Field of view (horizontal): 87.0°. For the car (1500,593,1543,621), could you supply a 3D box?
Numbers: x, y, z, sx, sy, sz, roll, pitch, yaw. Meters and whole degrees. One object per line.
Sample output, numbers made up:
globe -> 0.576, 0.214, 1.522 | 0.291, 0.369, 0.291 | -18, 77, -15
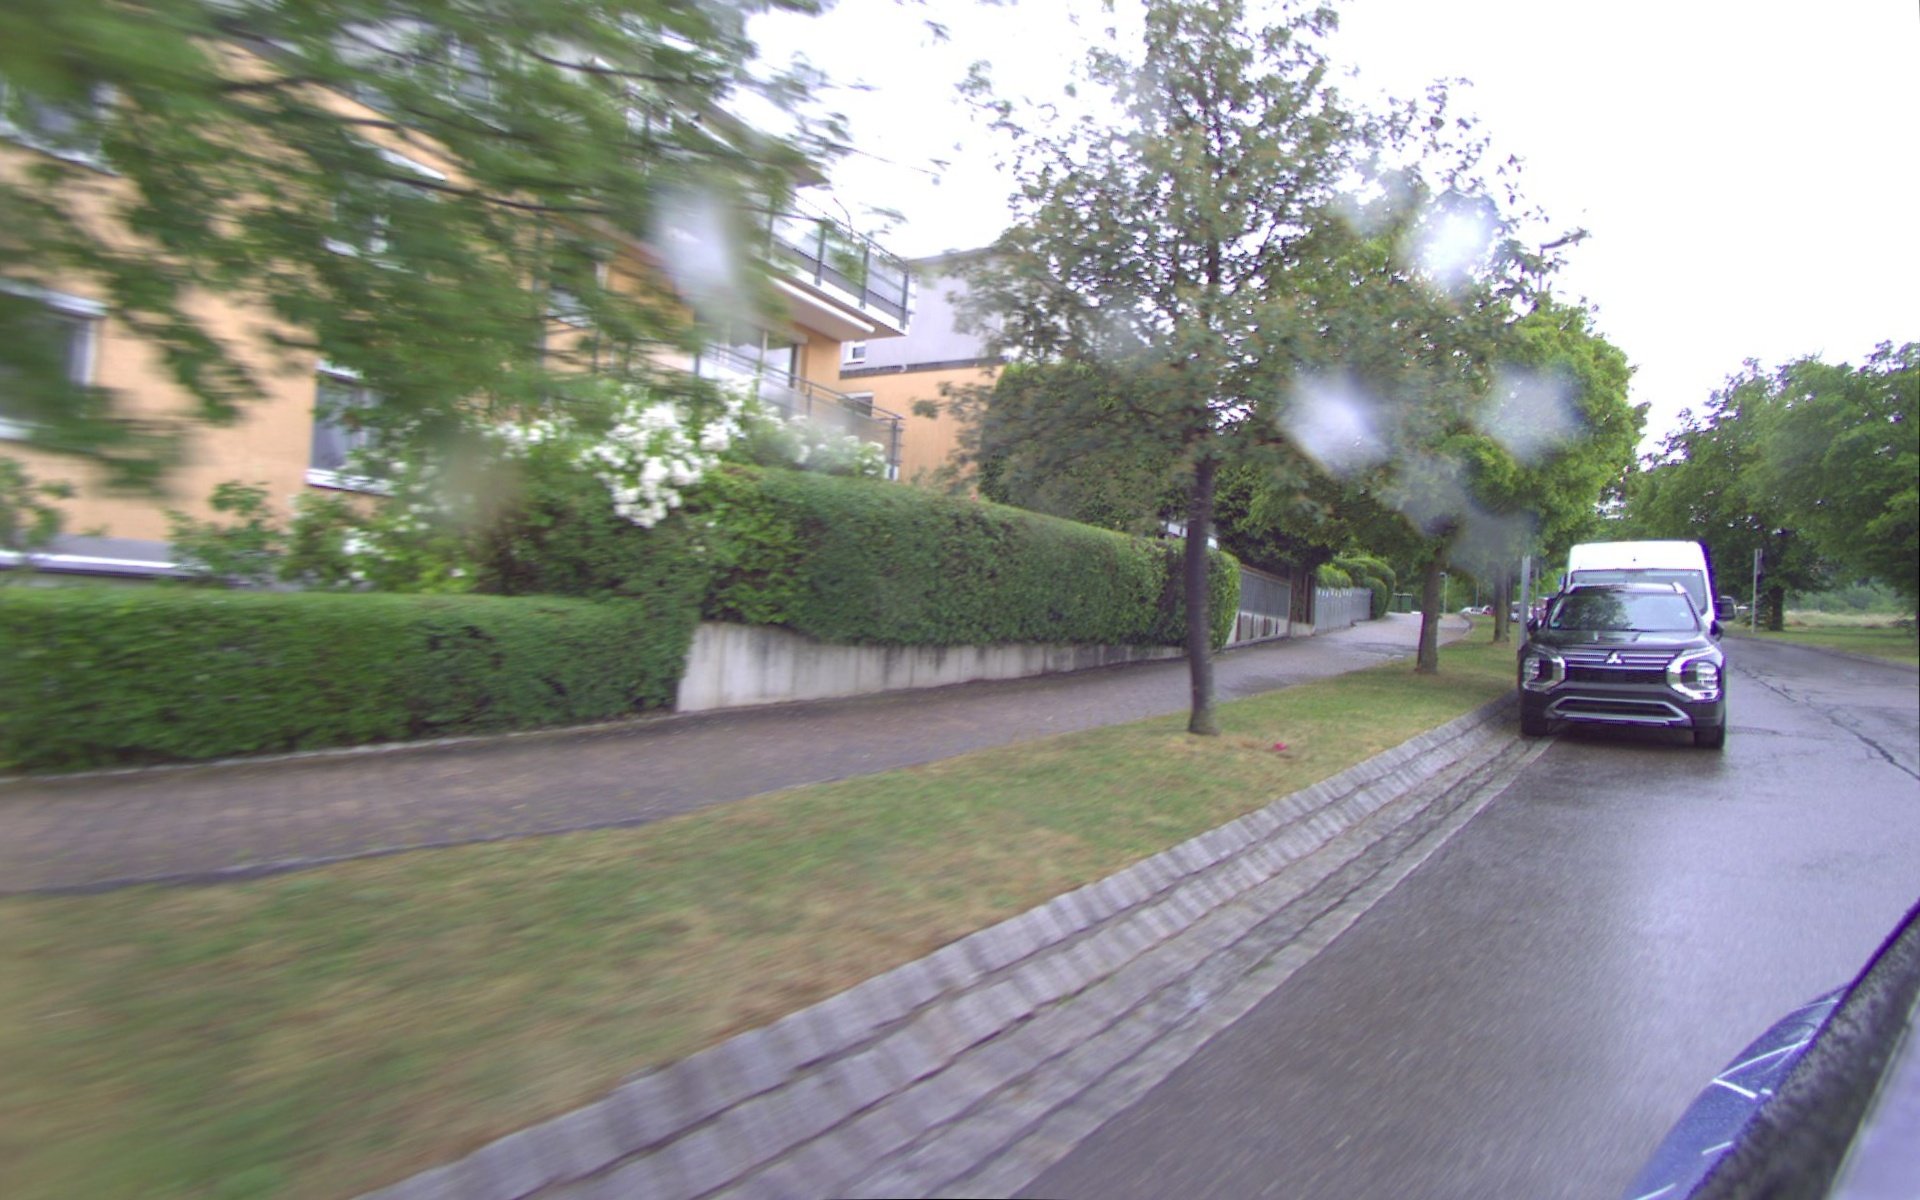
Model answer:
car -> 41.641, 0.484, 75.118 | 1.950, 1.871, 3.979 | 1, 2, 17

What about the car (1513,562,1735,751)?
car -> 7.880, 0.470, 11.809 | 1.807, 1.748, 4.589 | 2, 2, 37

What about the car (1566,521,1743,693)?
car -> 11.288, 0.063, 16.689 | 2.039, 2.360, 5.344 | 2, 1, 33
